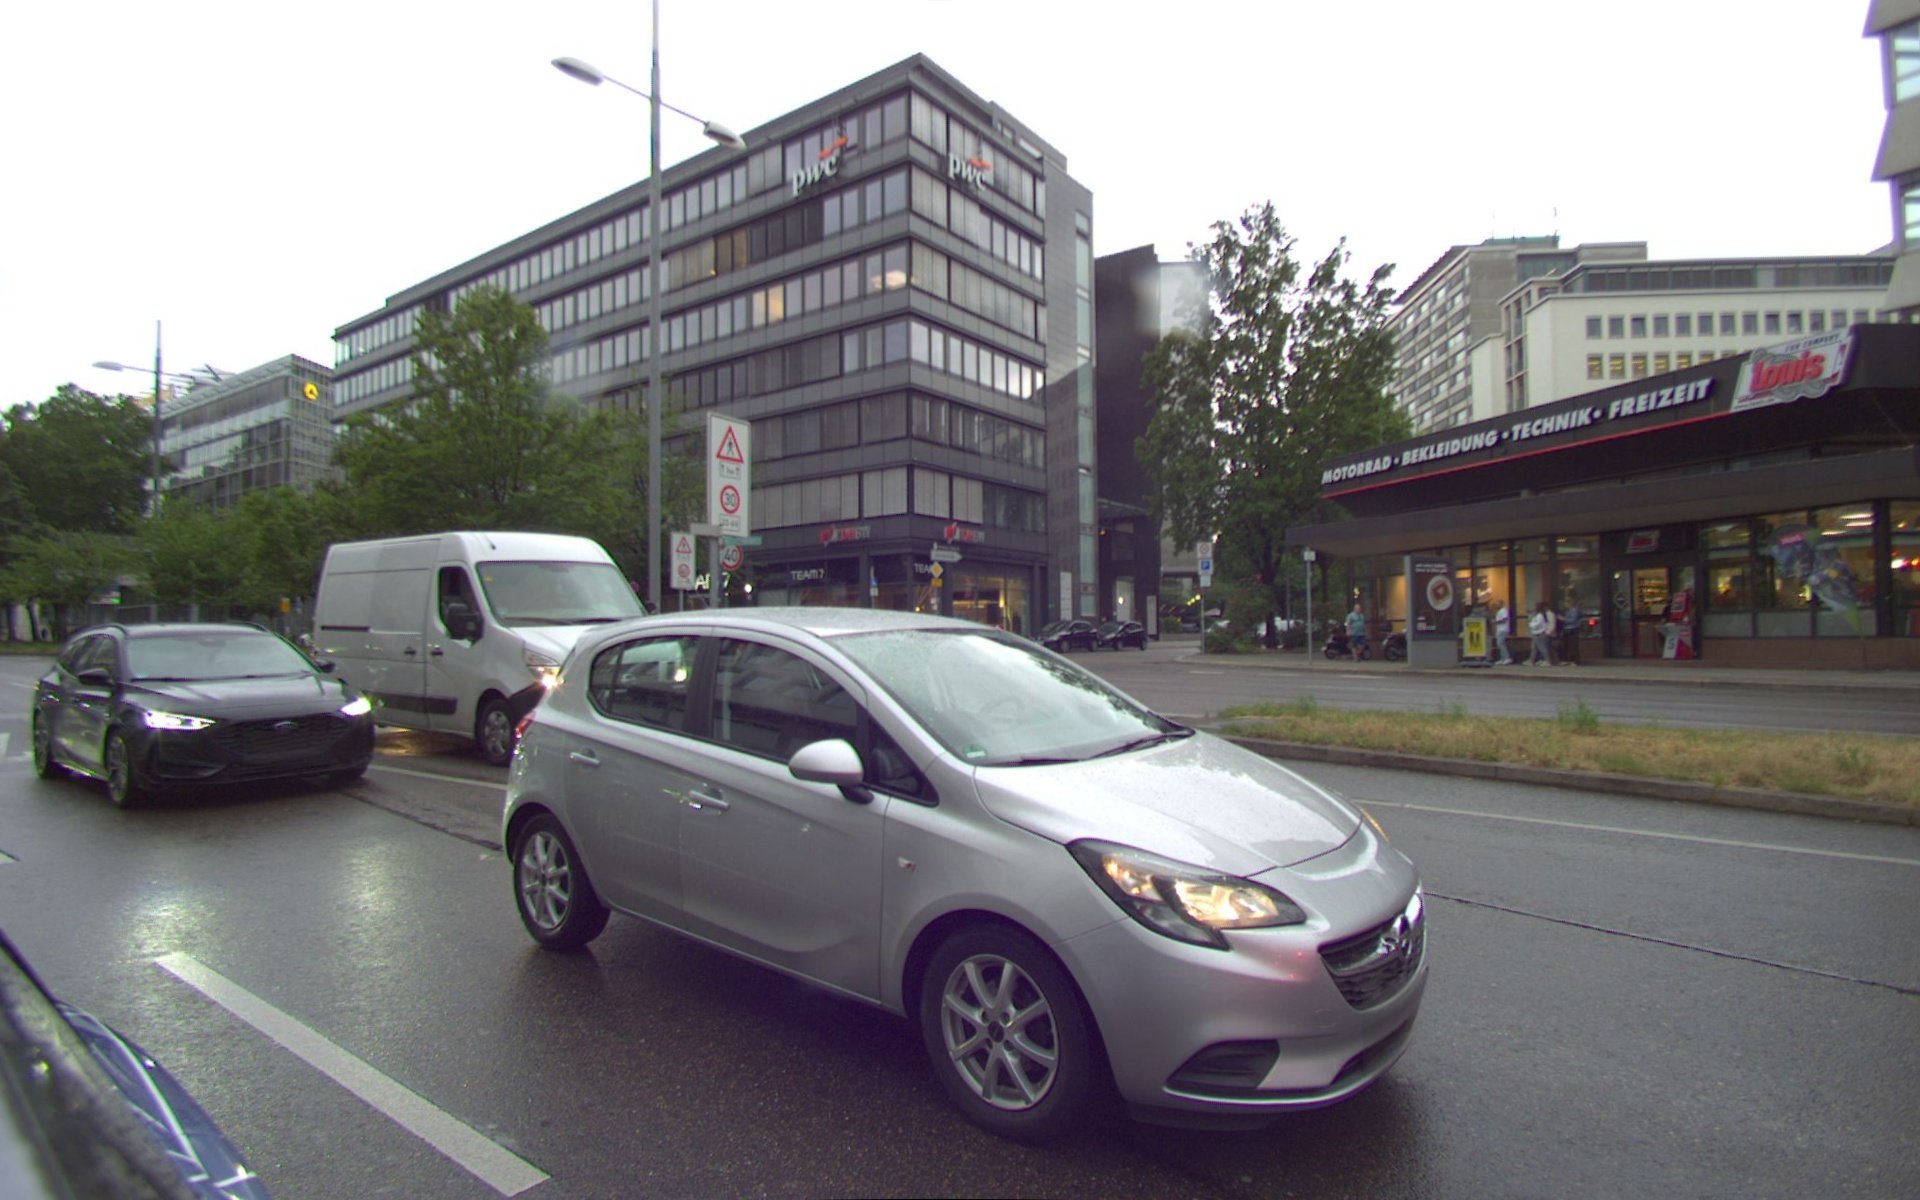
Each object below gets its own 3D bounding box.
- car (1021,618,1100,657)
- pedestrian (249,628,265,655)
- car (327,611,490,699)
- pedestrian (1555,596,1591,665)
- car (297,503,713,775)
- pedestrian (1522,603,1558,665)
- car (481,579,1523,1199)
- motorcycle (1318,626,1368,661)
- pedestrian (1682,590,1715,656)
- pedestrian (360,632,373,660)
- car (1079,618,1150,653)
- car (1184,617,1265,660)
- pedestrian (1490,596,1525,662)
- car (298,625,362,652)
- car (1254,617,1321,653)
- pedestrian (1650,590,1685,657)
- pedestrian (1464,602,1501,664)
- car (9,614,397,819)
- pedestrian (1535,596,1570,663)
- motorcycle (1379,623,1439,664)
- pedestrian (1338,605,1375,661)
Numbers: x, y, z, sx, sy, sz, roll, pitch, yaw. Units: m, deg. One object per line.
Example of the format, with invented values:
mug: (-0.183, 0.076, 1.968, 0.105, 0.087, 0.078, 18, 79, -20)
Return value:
car: (4.542, 1.661, 45.464, 1.847, 1.596, 3.716, -2, -1, 37)
pedestrian: (-53.747, 3.201, 77.401, 0.539, 2.029, 0.917, -2, -1, 39)
car: (-11.298, 1.077, 20.674, 3.492, 1.630, 1.744, -2, -1, 39)
pedestrian: (15.763, 0.775, 26.036, 0.532, 1.757, 0.560, 0, -1, -29)
car: (-5.382, 0.409, 11.560, 5.470, 2.459, 1.928, -2, -1, 37)
pedestrian: (14.976, 0.872, 26.128, 0.532, 1.582, 0.560, 0, -1, -29)
car: (-0.158, 0.721, 3.952, 3.872, 1.446, 1.631, -2, -1, 40)
motorcycle: (12.968, 1.457, 34.272, 1.600, 1.153, 0.360, -1, -1, -8)
pedestrian: (19.539, 0.599, 26.770, 0.501, 1.731, 0.447, -1, -1, -16)
pedestrian: (-43.948, 3.421, 74.914, 0.500, 2.029, 0.681, -2, -1, 38)
car: (7.577, 1.717, 49.460, 1.847, 1.596, 3.716, -2, -1, 37)
car: (10.671, 1.506, 40.631, 1.847, 1.596, 3.716, -2, -1, 37)
pedestrian: (14.841, 0.786, 27.447, 0.605, 1.757, 0.560, 0, -1, -29)
car: (-37.942, 2.290, 60.902, 3.992, 1.518, 1.975, -2, -1, 36)
car: (15.567, 1.628, 48.032, 1.847, 1.596, 3.716, -2, -1, 37)
pedestrian: (18.552, 0.612, 26.551, 0.516, 1.731, 0.500, -1, -1, -16)
pedestrian: (13.968, 0.870, 27.045, 0.605, 1.623, 0.614, 0, -1, -29)
car: (-6.990, 0.896, 9.211, 4.087, 1.446, 1.755, -2, -1, 37)
pedestrian: (15.762, 0.774, 26.913, 0.532, 1.757, 0.560, 0, -1, -29)
motorcycle: (13.837, 1.345, 31.219, 1.646, 1.242, 0.360, -1, -1, 2)
pedestrian: (11.982, 1.005, 30.626, 0.721, 1.661, 0.702, -1, -1, -19)
